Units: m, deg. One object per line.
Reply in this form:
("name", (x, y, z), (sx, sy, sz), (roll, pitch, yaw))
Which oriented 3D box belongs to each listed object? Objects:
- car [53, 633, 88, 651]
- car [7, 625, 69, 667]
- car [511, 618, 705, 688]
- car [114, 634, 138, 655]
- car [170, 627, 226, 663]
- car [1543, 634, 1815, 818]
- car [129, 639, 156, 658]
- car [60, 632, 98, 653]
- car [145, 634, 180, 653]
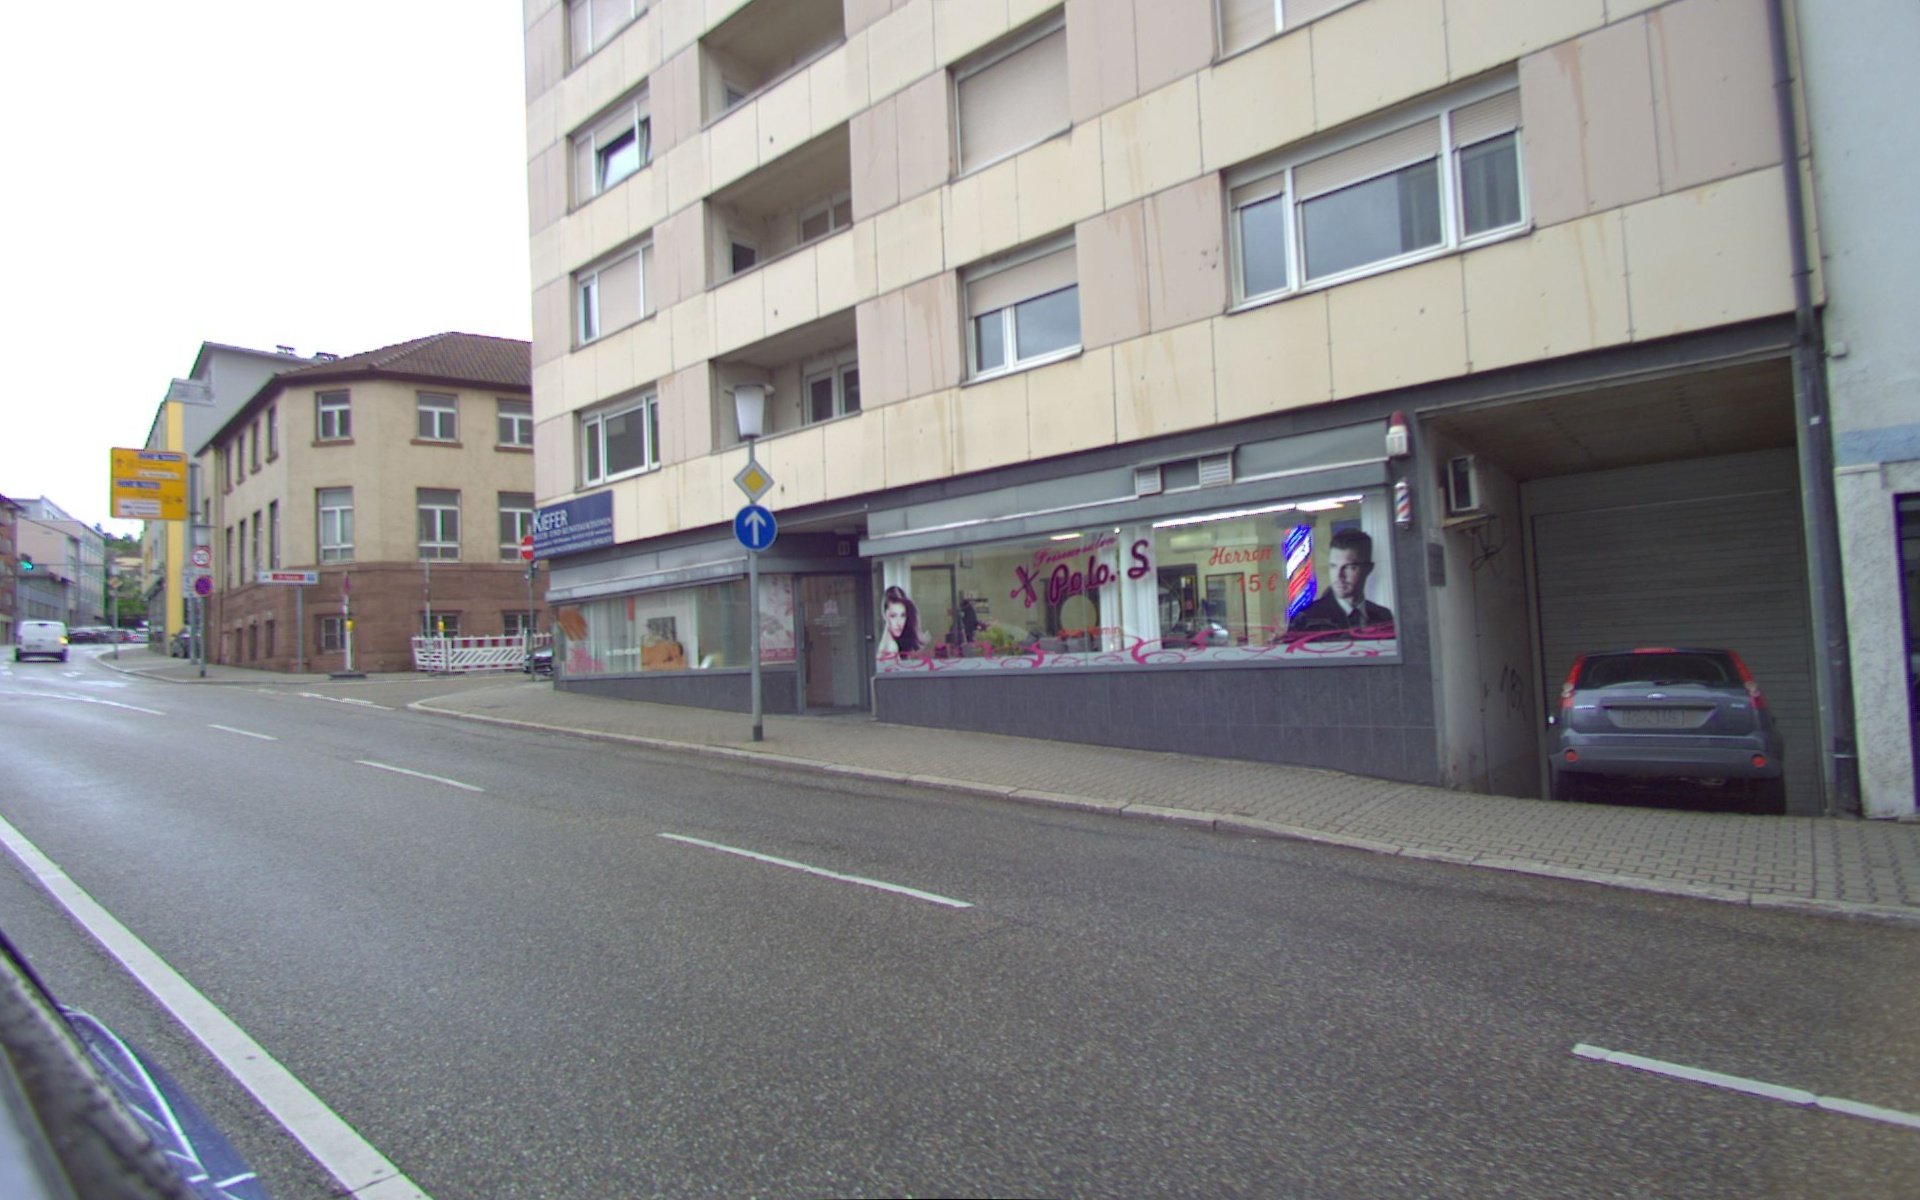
("car", (-72.714, 3.422, 82.756), (1.833, 1.465, 4.327), (1, -2, -37))
("car", (-41.841, 2.052, 45.891), (4.268, 1.817, 1.840), (-2, -3, 45))
("car", (-8.913, 1.297, 25.797), (4.296, 1.515, 1.757), (-1, -1, -39))
("car", (-83.011, 4.416, 100.746), (1.820, 1.918, 3.771), (0, -1, -40))
("car", (-35.107, 2.061, 46.577), (1.834, 1.465, 3.969), (-4, 0, -40))
("car", (6.689, 1.238, 9.643), (1.674, 1.361, 3.954), (-4, -9, 33))
("car", (-76.459, 4.492, 94.626), (1.834, 1.711, 4.326), (2, -3, -39))
("car", (-65.520, 3.151, 75.221), (1.836, 1.465, 4.321), (1, -2, -45))
("car", (-62.323, 3.390, 79.072), (1.835, 1.465, 4.324), (4, -4, -42))
